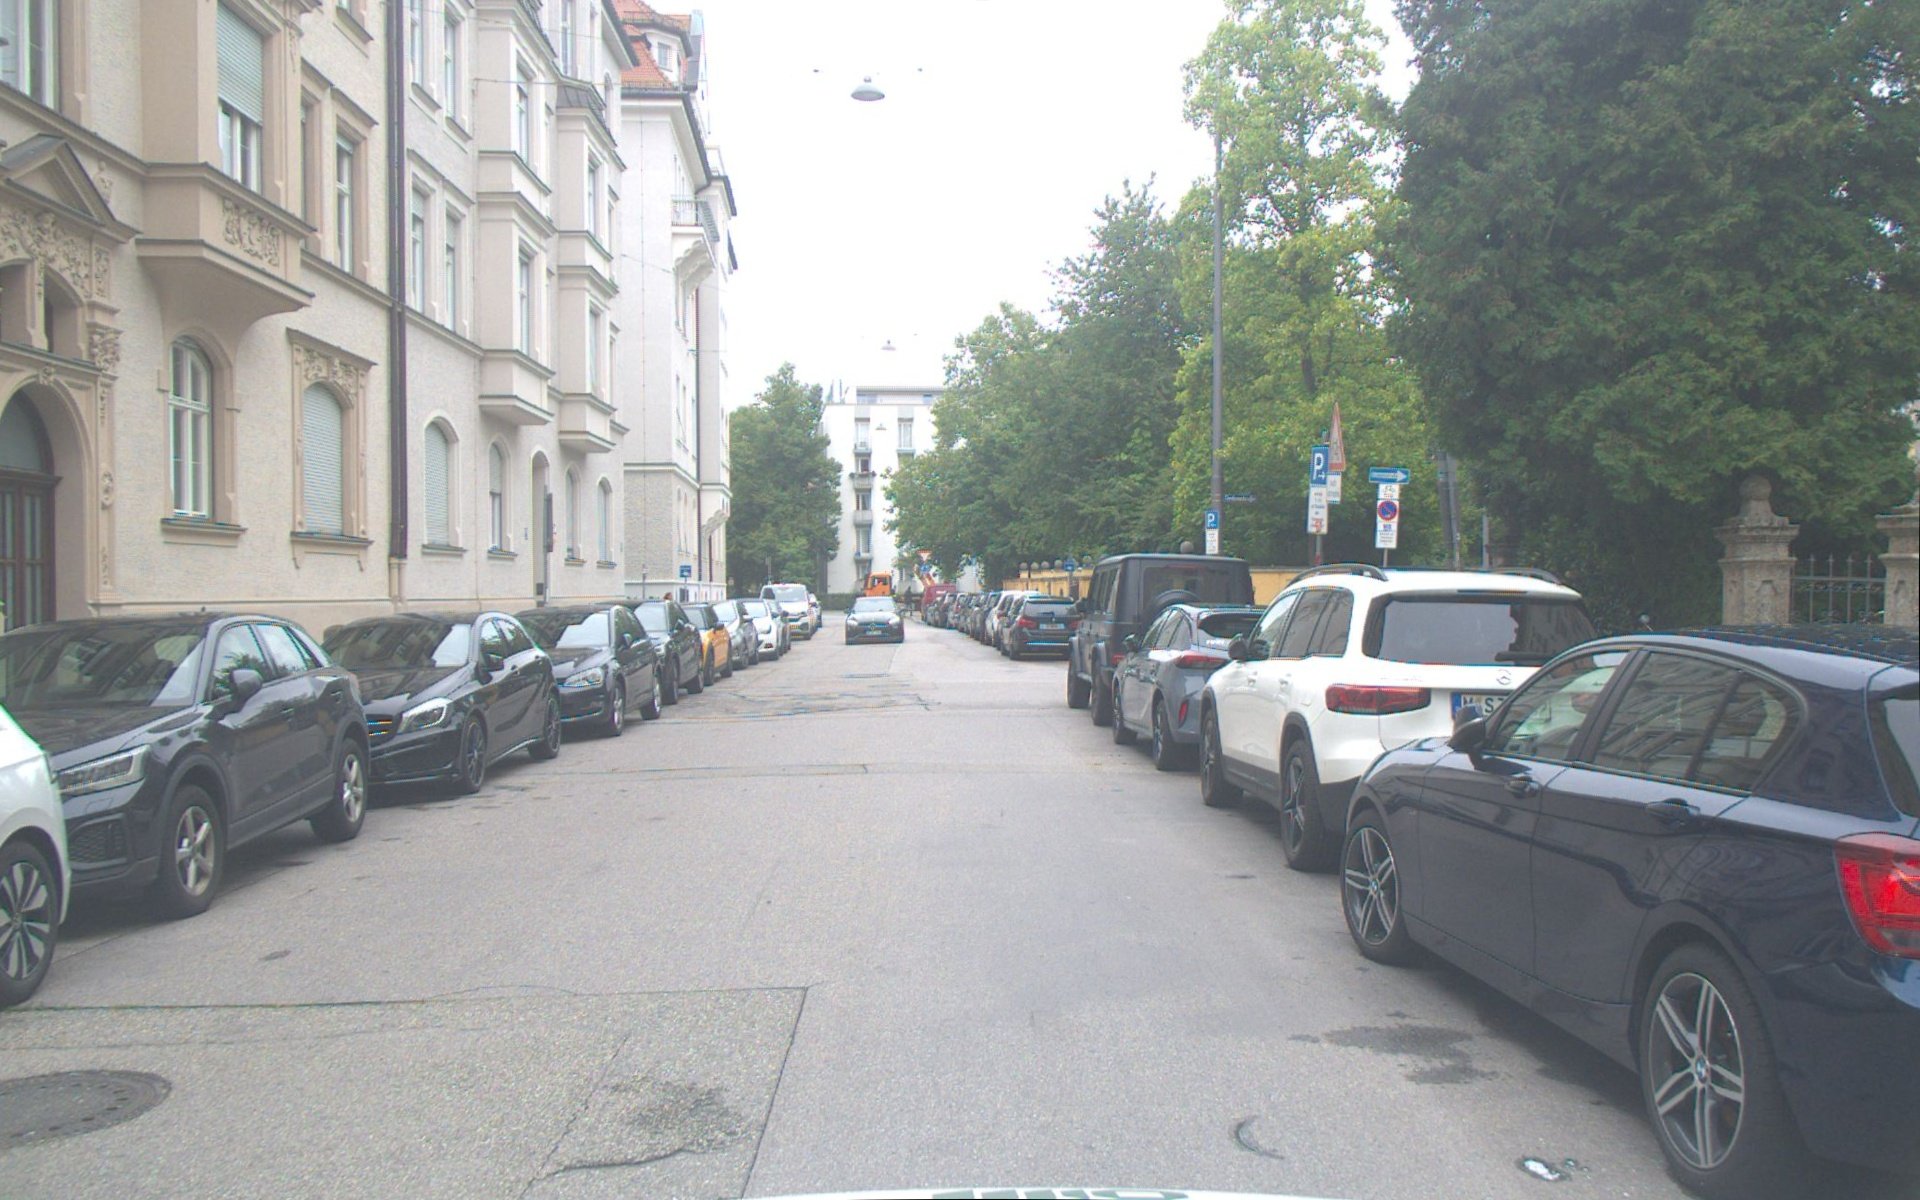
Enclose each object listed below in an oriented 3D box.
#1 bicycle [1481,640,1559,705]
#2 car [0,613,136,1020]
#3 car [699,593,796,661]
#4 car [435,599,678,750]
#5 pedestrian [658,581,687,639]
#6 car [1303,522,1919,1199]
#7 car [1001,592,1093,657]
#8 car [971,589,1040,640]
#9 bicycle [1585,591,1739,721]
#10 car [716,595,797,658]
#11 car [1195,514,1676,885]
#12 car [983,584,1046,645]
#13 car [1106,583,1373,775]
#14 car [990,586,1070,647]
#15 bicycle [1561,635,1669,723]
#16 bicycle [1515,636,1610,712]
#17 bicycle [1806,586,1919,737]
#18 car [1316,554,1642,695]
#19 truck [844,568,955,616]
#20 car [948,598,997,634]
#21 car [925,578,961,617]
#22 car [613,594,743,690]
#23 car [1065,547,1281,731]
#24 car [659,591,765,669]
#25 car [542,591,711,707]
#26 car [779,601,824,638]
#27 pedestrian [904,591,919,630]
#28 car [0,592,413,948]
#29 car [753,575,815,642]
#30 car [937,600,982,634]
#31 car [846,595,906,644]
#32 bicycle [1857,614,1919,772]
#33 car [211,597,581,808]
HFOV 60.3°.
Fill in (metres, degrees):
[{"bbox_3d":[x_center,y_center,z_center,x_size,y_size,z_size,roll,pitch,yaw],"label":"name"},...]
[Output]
[{"bbox_3d":[6.419,0.825,18.996,0.502,0.695,1.123,-1,0,0],"label":"bicycle"},{"bbox_3d":[-4.348,0.835,4.896,1.800,1.459,4.242,-2,0,-3],"label":"car"},{"bbox_3d":[-5.156,0.626,40.541,1.799,1.463,4.274,-4,0,-1],"label":"car"},{"bbox_3d":[-4.614,0.785,19.556,1.799,1.460,4.244,-4,0,-1],"label":"car"},{"bbox_3d":[-8.560,0.288,49.277,0.776,1.708,0.699,0,0,-4],"label":"pedestrian"},{"bbox_3d":[2.640,0.658,5.586,1.716,1.639,4.420,1,0,-5],"label":"car"},{"bbox_3d":[1.973,0.568,38.573,1.801,1.438,4.341,0,-1,-1],"label":"car"},{"bbox_3d":[1.420,0.481,53.489,1.802,1.578,3.943,0,-1,-5],"label":"car"},{"bbox_3d":[6.341,0.490,14.997,0.505,1.114,1.347,-1,0,-19],"label":"bicycle"},{"bbox_3d":[-5.523,0.678,45.348,1.800,1.525,4.272,-4,0,-3],"label":"car"},{"bbox_3d":[2.693,0.524,10.463,1.688,1.800,4.412,2,-1,-1],"label":"car"},{"bbox_3d":[1.549,0.430,48.303,1.484,1.690,3.671,0,-1,-4],"label":"car"},{"bbox_3d":[2.485,0.675,15.550,1.688,1.545,3.628,2,-1,-3],"label":"car"},{"bbox_3d":[1.805,0.442,43.581,1.620,1.545,3.791,0,-1,-5],"label":"car"},{"bbox_3d":[6.399,0.756,16.218,0.502,0.795,1.354,-1,0,0],"label":"bicycle"},{"bbox_3d":[6.416,0.774,17.659,0.502,0.747,1.354,-1,0,0],"label":"bicycle"},{"bbox_3d":[7.915,0.515,13.841,1.458,1.219,0.489,1,-1,-7],"label":"bicycle"},{"bbox_3d":[7.990,0.324,25.655,4.444,1.984,1.900,-1,1,-8],"label":"car"},{"bbox_3d":[-4.392,-0.564,119.900,7.542,3.298,2.888,-1,0,-15],"label":"truck"},{"bbox_3d":[0.522,0.720,72.991,1.802,1.545,3.943,0,-1,-5],"label":"car"},{"bbox_3d":[-0.889,-0.148,88.927,1.798,1.960,4.005,2,0,1],"label":"car"},{"bbox_3d":[-5.050,0.708,30.075,1.607,1.525,3.971,-4,0,0],"label":"car"},{"bbox_3d":[2.474,0.396,20.375,1.911,1.988,4.664,1,1,-2],"label":"car"},{"bbox_3d":[-5.281,0.633,35.645,1.691,1.526,3.929,-2,-1,-1],"label":"car"},{"bbox_3d":[-4.917,0.667,24.886,1.718,1.526,4.018,-3,0,-1],"label":"car"},{"bbox_3d":[-7.893,0.966,82.622,1.975,1.662,4.411,-4,0,-3],"label":"car"},{"bbox_3d":[-2.937,0.636,100.542,0.822,2.325,0.845,-1,0,1],"label":"pedestrian"},{"bbox_3d":[-4.676,0.785,9.510,1.735,1.544,4.382,-4,0,-3],"label":"car"},{"bbox_3d":[-6.242,0.289,59.018,1.849,2.164,4.703,-4,0,-3],"label":"car"},{"bbox_3d":[-0.053,0.792,76.961,1.802,1.545,3.943,0,-1,-5],"label":"car"},{"bbox_3d":[-2.704,0.612,52.760,1.837,1.453,4.405,-1,0,-4],"label":"car"},{"bbox_3d":[7.312,0.657,12.071,1.283,1.118,0.455,-1,-1,-3],"label":"bicycle"},{"bbox_3d":[-4.674,0.752,14.472,1.797,1.459,4.551,-2,0,-3],"label":"car"}]
